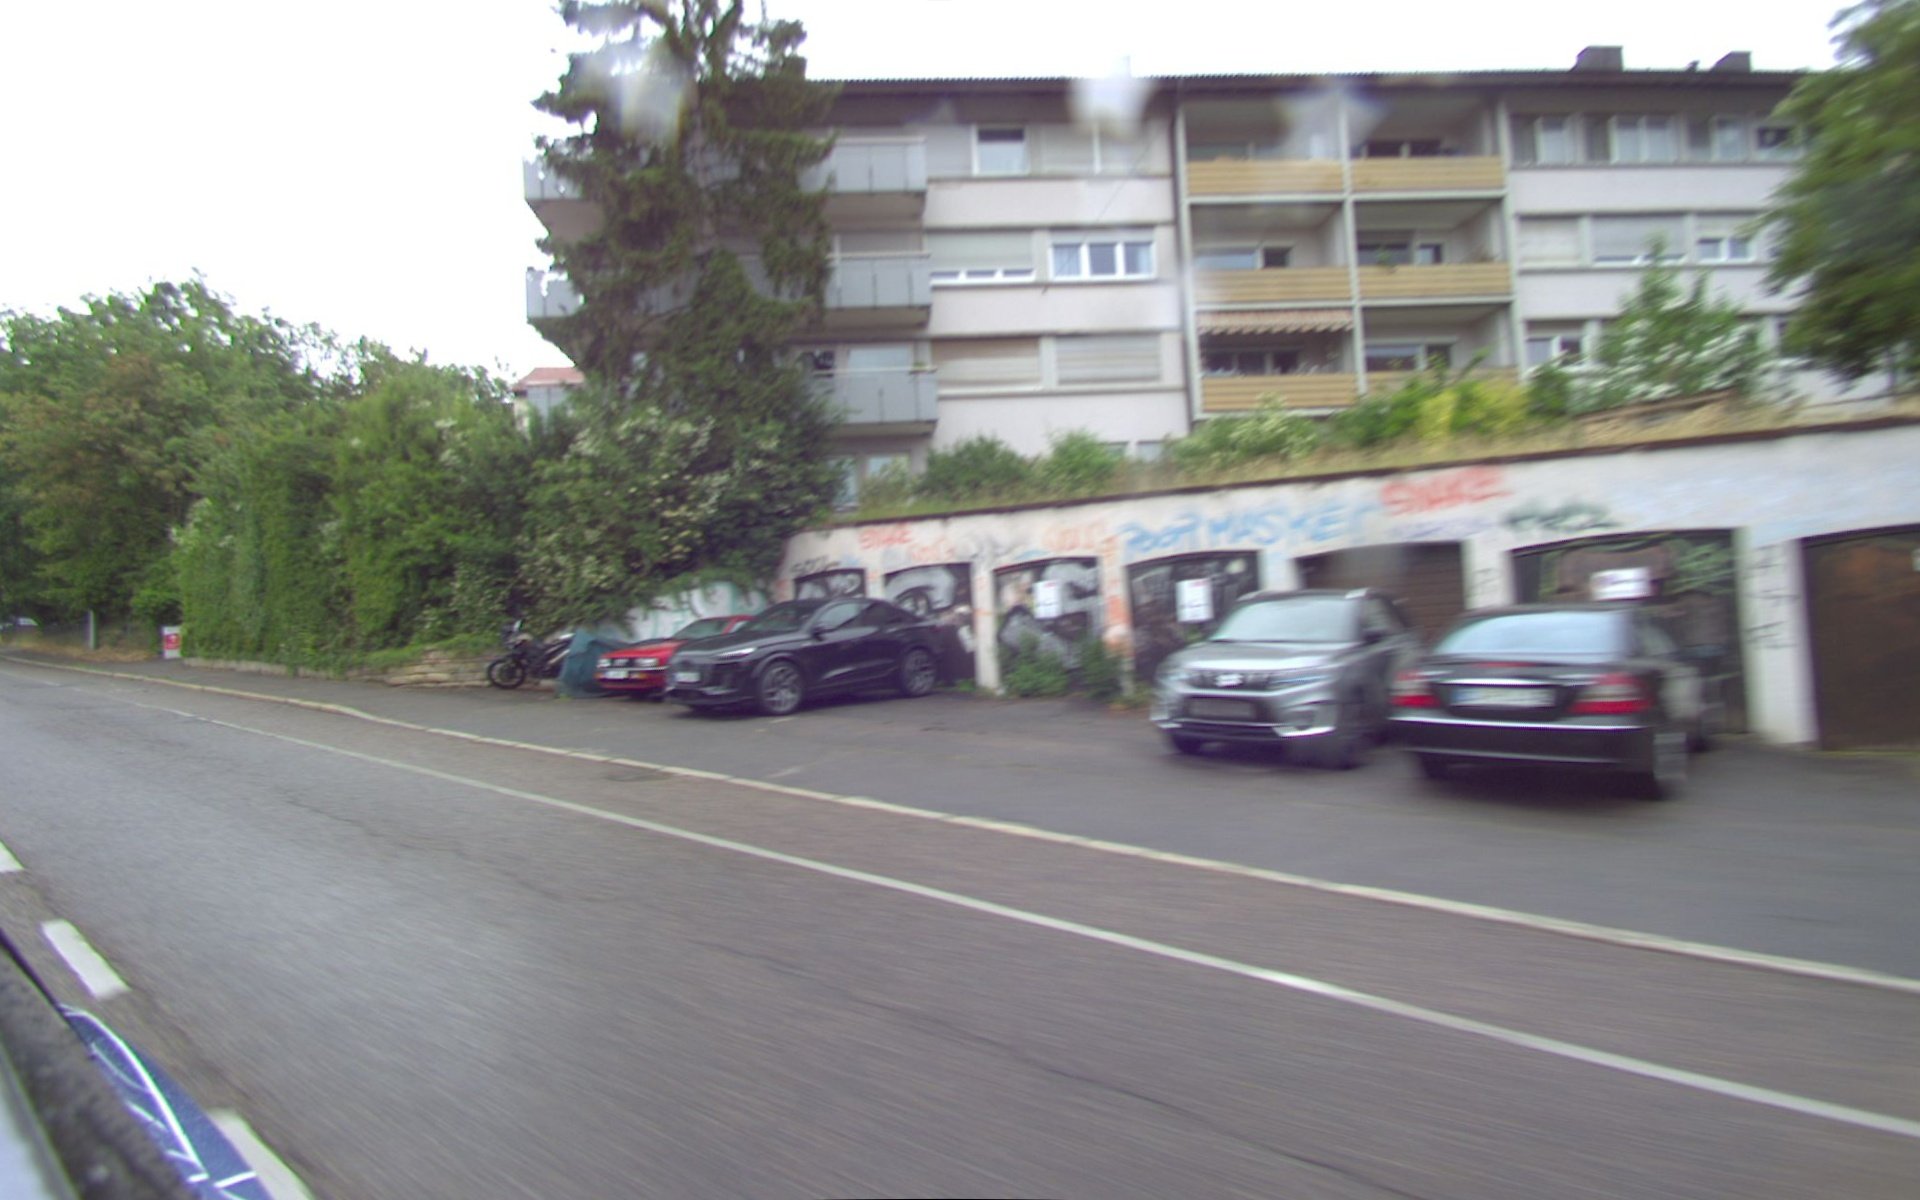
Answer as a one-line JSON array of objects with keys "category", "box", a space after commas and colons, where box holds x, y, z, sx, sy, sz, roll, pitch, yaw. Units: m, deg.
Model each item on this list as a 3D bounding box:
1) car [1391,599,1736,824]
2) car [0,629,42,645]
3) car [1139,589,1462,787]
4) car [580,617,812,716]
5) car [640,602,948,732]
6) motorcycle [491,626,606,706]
[{"category": "car", "box": [5.136, 0.723, 8.401, 1.783, 1.417, 3.592, -1, 0, 42]}, {"category": "car", "box": [-91.751, 3.593, 98.084, 1.702, 1.455, 4.123, -1, -1, 1]}, {"category": "car", "box": [3.573, 0.697, 10.158, 1.878, 1.571, 3.949, -1, 0, 38]}, {"category": "car", "box": [-4.373, 1.036, 17.201, 1.712, 1.416, 3.601, -1, 0, 34]}, {"category": "car", "box": [-2.320, 0.899, 15.131, 1.812, 1.614, 4.404, -3, -2, 40]}, {"category": "motorcycle", "box": [-7.365, 1.148, 18.060, 2.311, 1.330, 0.612, -1, -1, 30]}]
